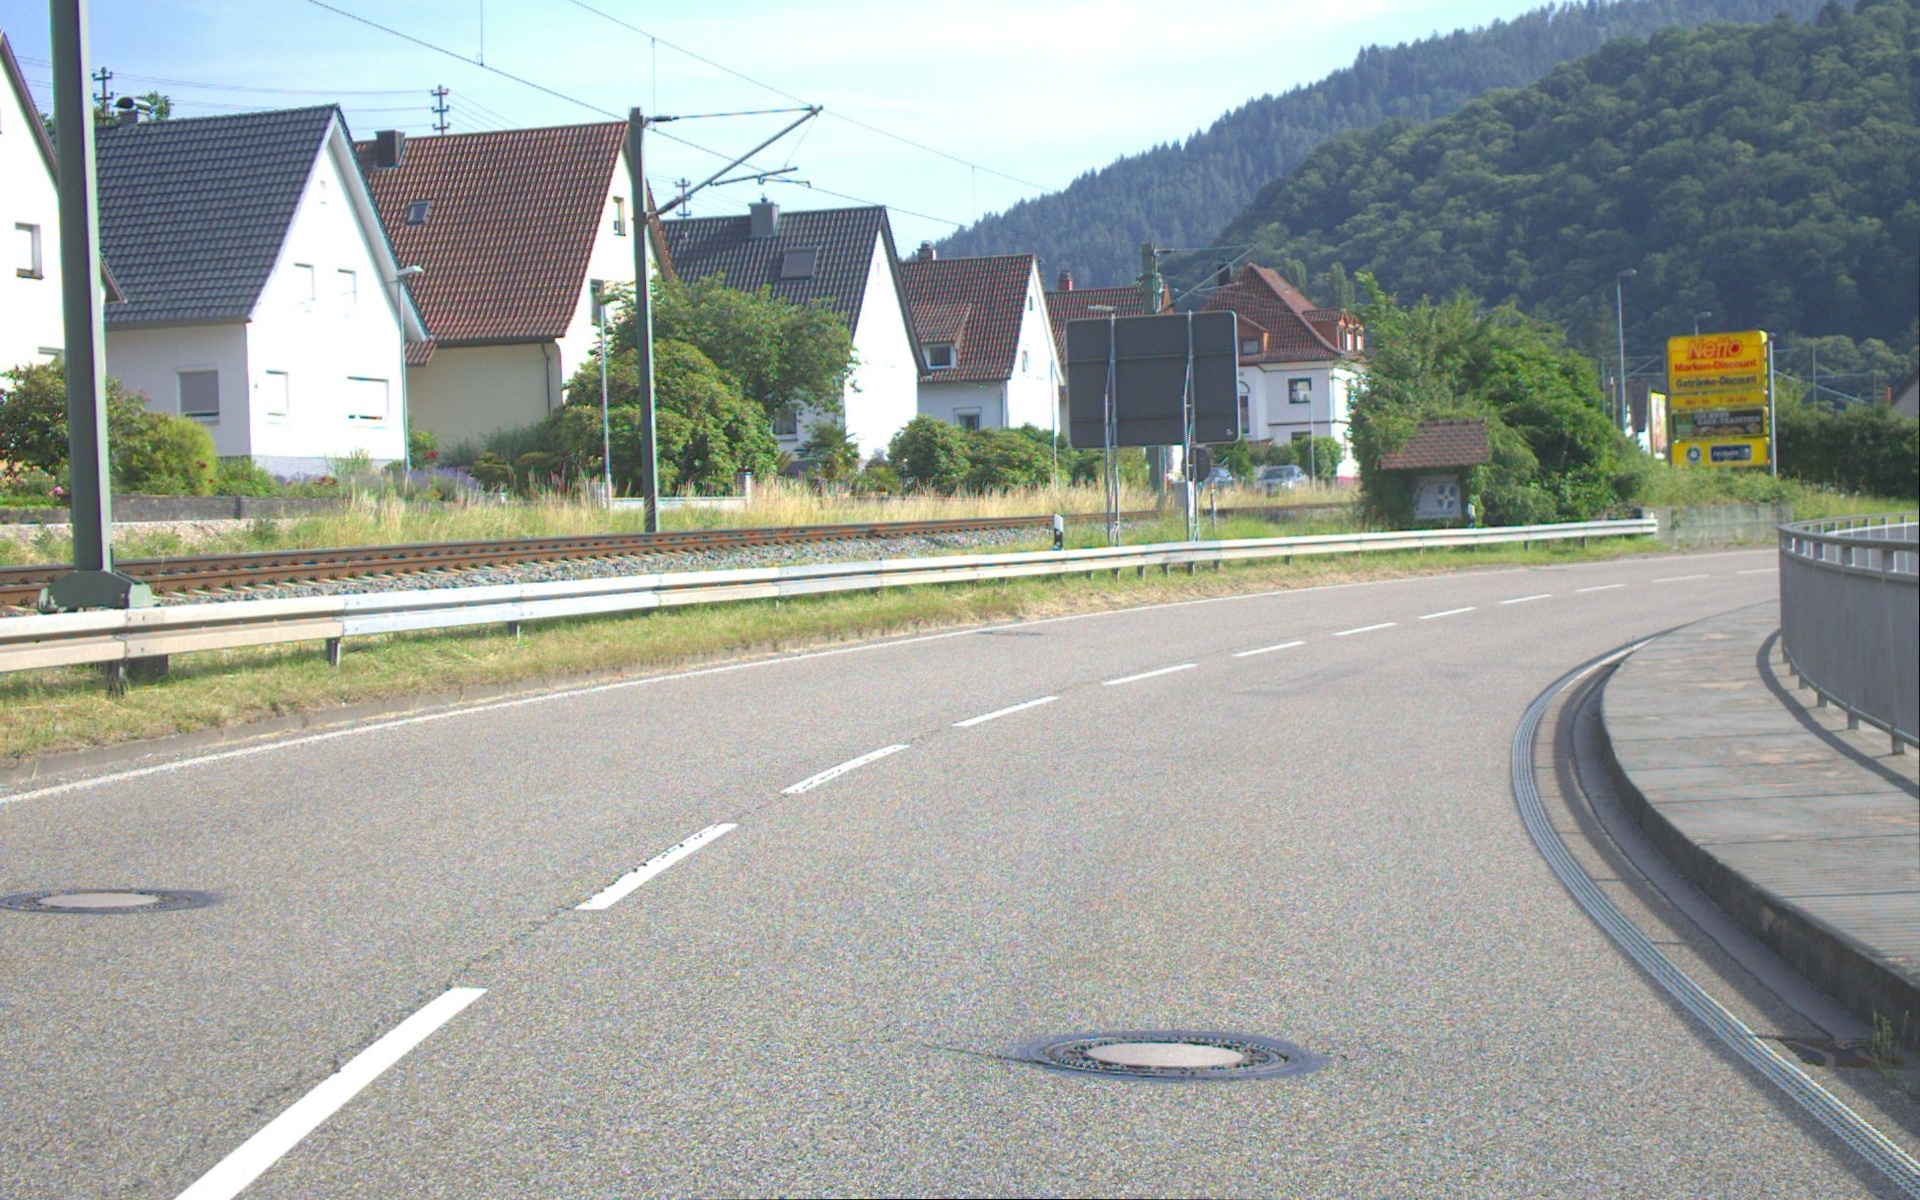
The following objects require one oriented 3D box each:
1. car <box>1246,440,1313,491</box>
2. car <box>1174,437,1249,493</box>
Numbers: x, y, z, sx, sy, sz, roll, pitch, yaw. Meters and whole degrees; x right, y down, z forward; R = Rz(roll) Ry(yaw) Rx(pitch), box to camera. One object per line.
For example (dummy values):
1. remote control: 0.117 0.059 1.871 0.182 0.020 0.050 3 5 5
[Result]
1. car: 13.242 -5.570 142.499 1.995 1.875 3.998 6 3 14
2. car: 9.487 -5.062 129.334 1.995 1.875 3.998 6 3 14
